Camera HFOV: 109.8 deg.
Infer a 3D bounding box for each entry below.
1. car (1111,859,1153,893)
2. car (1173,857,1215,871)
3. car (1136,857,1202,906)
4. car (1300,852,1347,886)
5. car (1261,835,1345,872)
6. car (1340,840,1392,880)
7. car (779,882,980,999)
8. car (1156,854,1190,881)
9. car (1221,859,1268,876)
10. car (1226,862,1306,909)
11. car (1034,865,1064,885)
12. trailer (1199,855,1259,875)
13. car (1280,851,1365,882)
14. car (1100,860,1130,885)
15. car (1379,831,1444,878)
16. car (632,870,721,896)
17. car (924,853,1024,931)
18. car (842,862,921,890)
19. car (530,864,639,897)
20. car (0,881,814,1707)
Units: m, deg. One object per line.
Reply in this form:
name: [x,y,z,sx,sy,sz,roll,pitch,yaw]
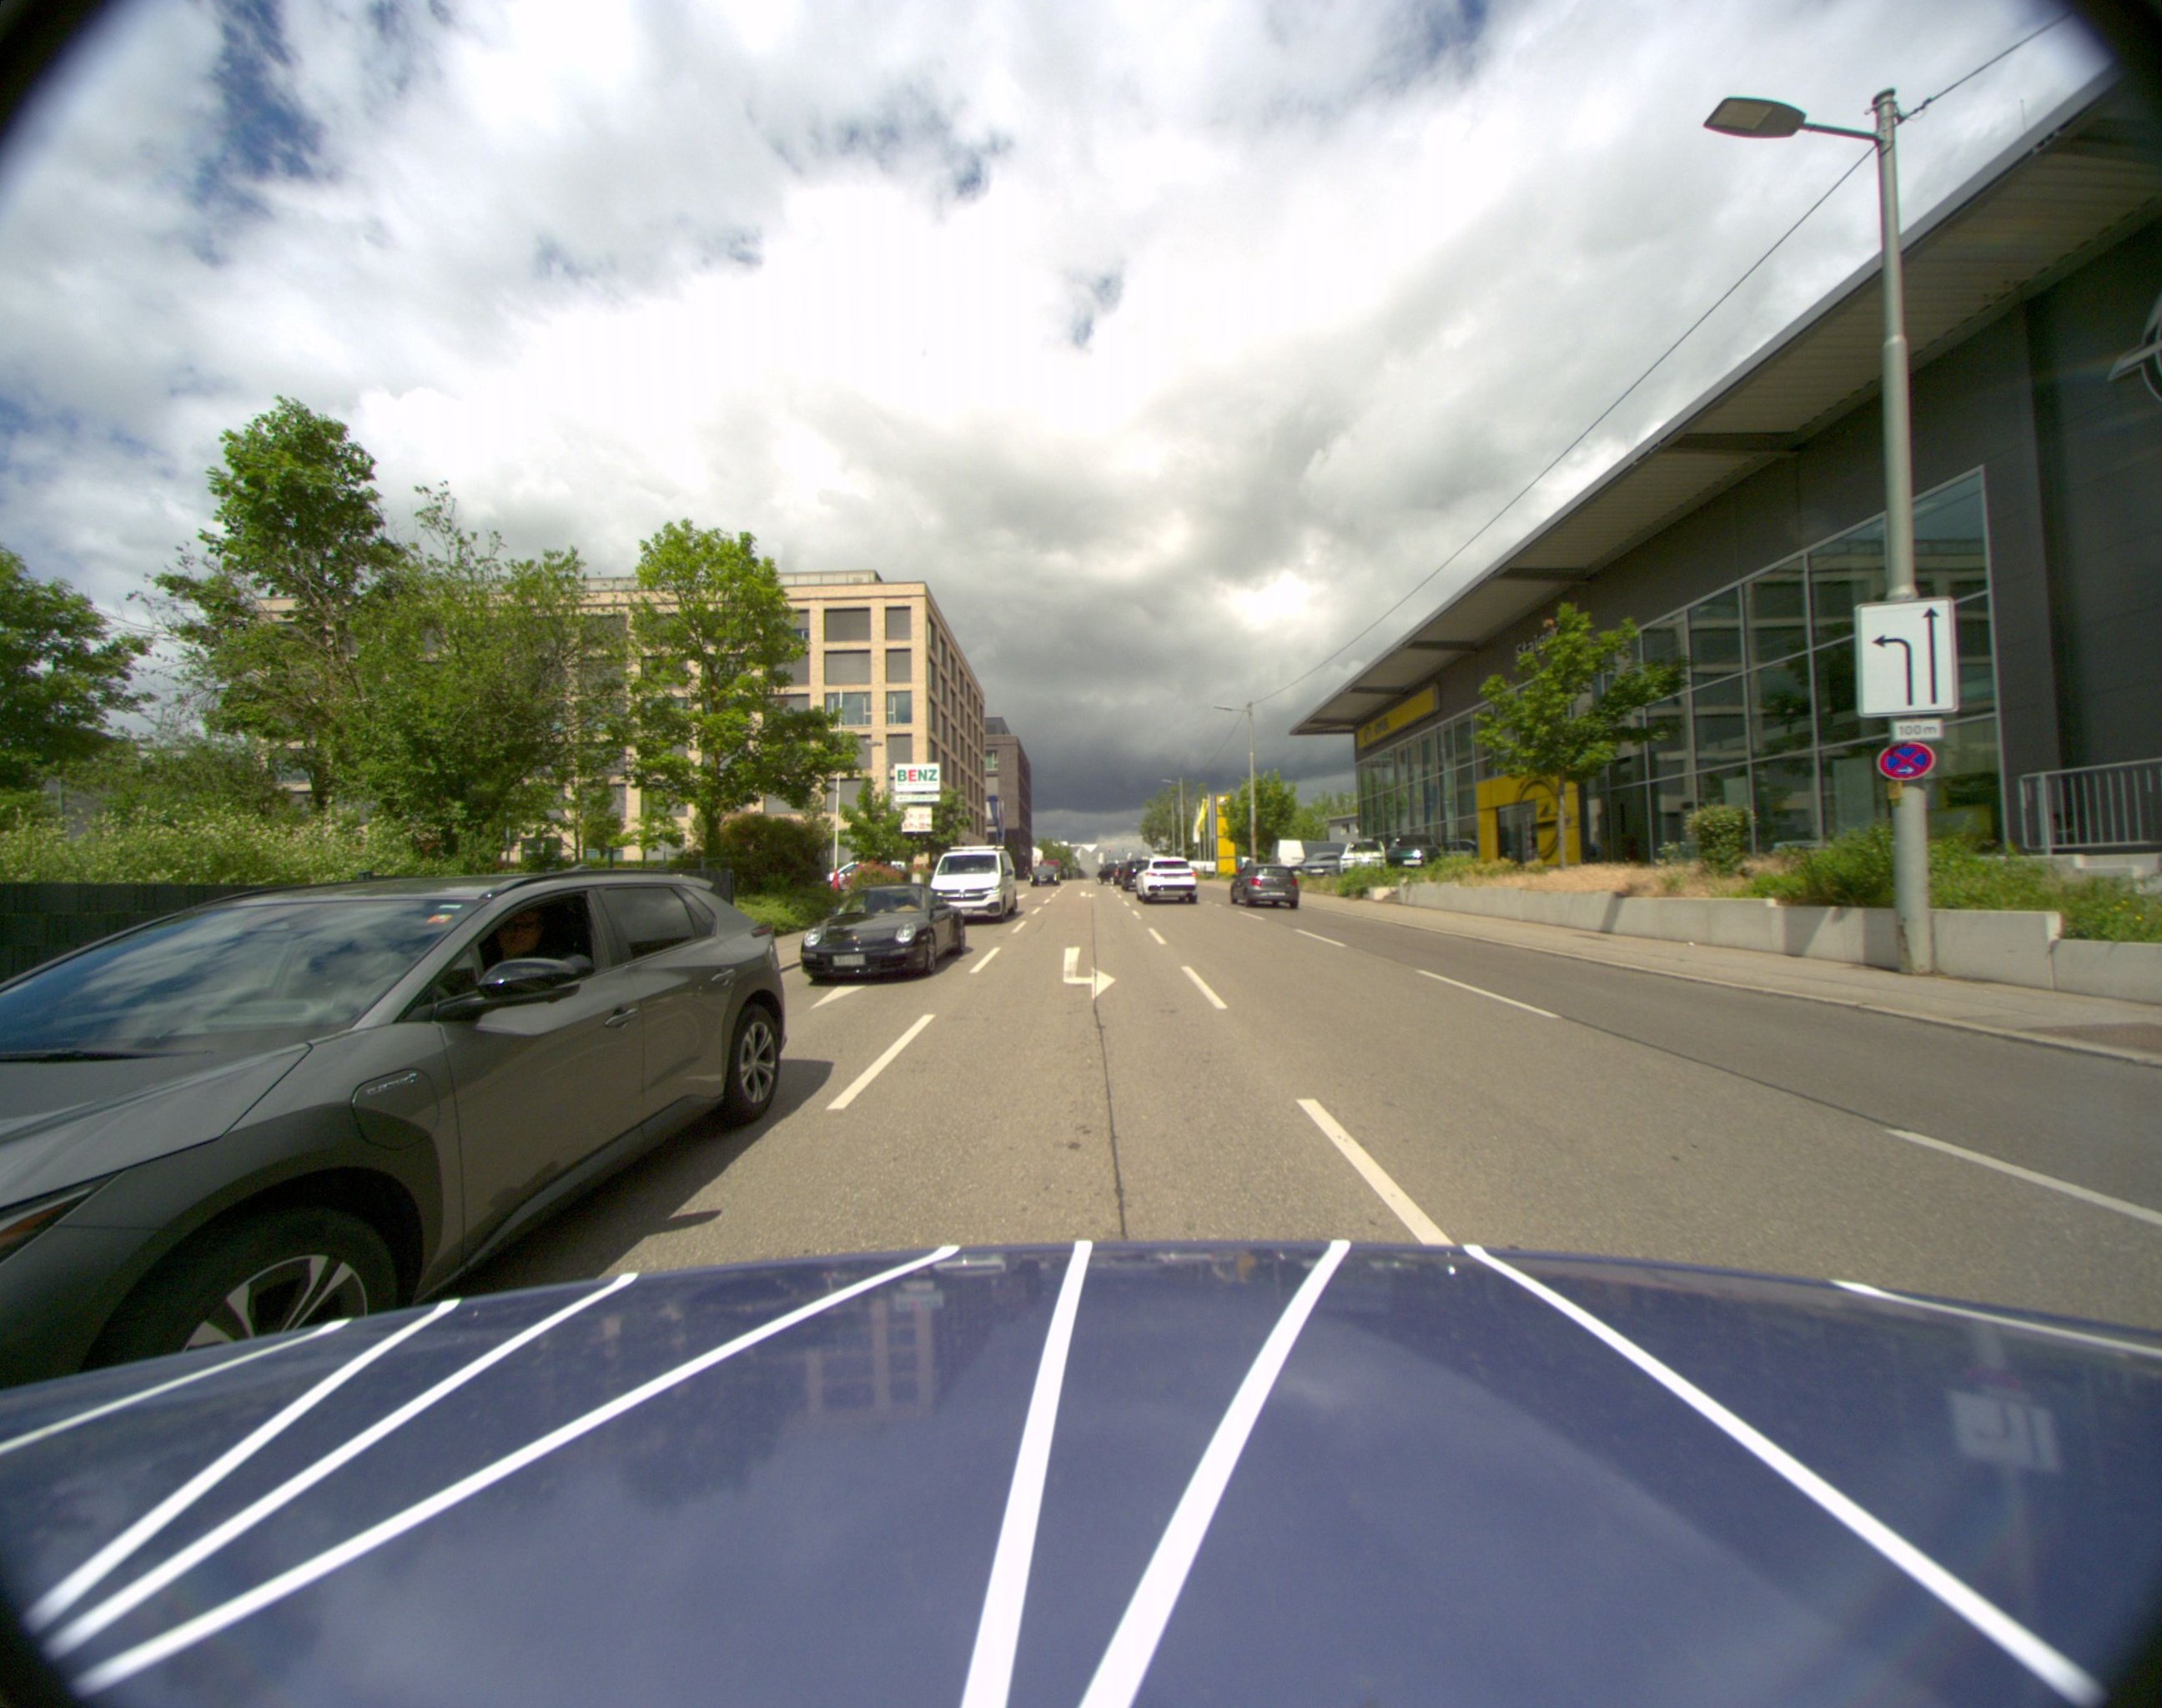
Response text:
car: [2.598,1.096,39.429,1.797,1.604,4.108,-1,0,-1]
car: [12.393,1.142,83.516,4.252,1.473,2.095,-1,0,-2]
car: [3.126,0.940,27.753,1.924,1.604,4.416,-1,0,1]
car: [12.247,0.712,38.197,1.794,1.604,4.116,-1,0,24]
car: [13.640,-0.040,46.922,4.531,2.182,2.179,-1,1,-1]
car: [12.319,0.220,32.703,1.793,1.604,4.116,-1,0,25]
car: [-2.880,1.197,11.983,1.777,1.267,4.569,-3,0,2]
car: [6.797,0.980,56.568,1.924,1.848,5.199,1,0,0]
car: [13.720,1.128,63.886,3.669,1.401,1.815,-1,0,2]
car: [6.101,0.990,25.467,1.763,1.405,3.734,1,0,1]
car: [-2.278,1.453,54.358,1.777,1.267,4.569,-2,0,2]
trailer: [13.165,0.952,67.775,4.835,1.742,2.095,-1,0,-3]
car: [13.346,0.668,42.104,4.108,1.604,1.797,-1,0,-8]
car: [2.237,1.202,50.433,1.731,1.494,3.438,-1,0,-1]
car: [12.239,0.028,27.969,1.817,1.604,4.117,-1,0,29]
car: [-23.366,1.666,43.986,4.219,1.410,1.735,-1,0,-1]
car: [-2.803,0.945,20.930,1.964,1.840,4.645,-3,0,1]
car: [-11.658,1.250,44.553,4.220,1.567,1.735,-1,0,-4]
car: [-22.987,1.215,35.259,3.997,1.401,1.600,-1,0,-1]
car: [-2.956,1.029,3.147,1.924,1.604,4.683,-3,0,1]
